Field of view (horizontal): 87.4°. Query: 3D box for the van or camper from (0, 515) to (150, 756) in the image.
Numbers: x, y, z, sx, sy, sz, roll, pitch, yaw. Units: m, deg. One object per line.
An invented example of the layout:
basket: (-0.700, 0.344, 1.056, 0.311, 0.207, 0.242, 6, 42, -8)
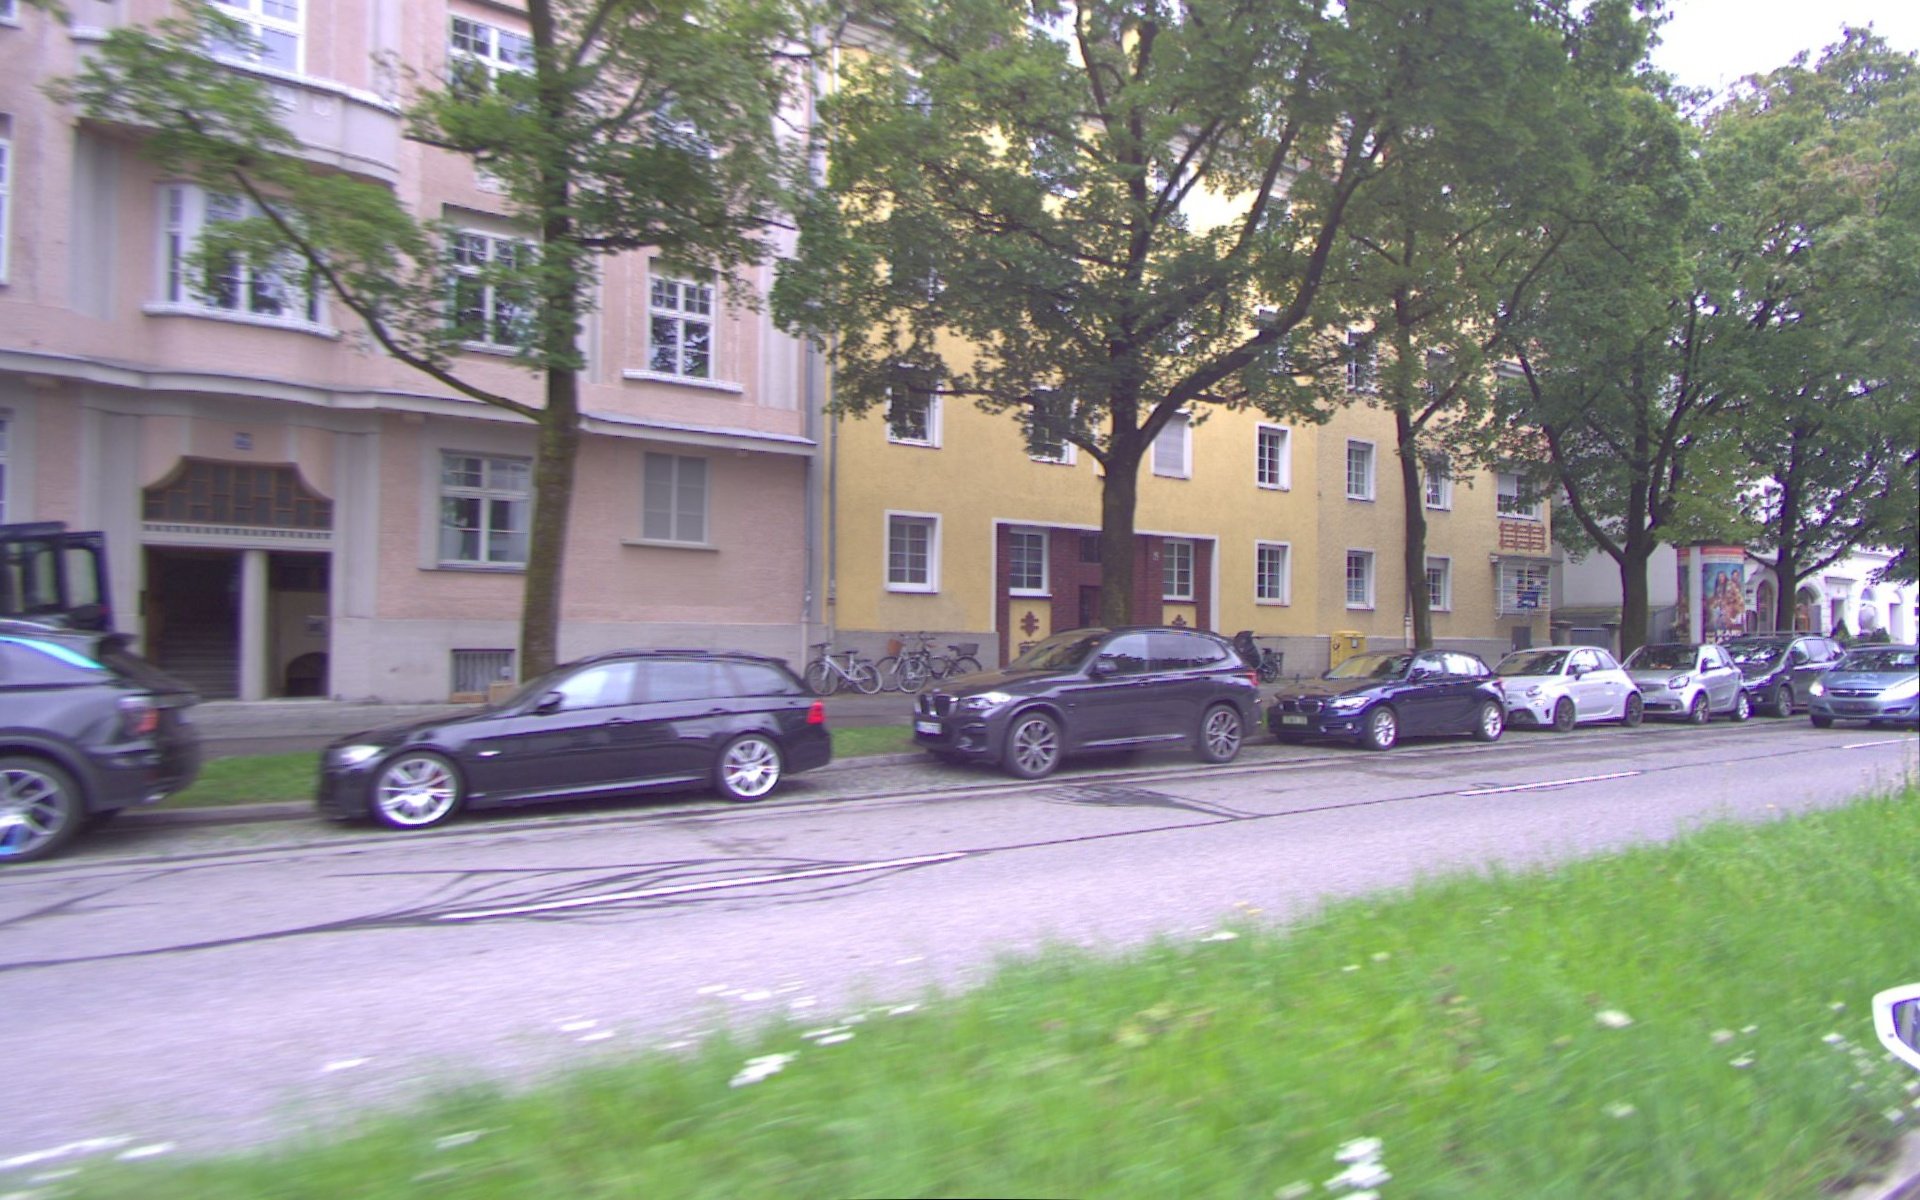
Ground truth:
van or camper: (-13.164, 0.352, 10.642, 6.771, 2.613, 2.334, 1, -1, -31)

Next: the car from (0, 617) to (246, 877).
car: (-7.727, 0.964, 6.901, 4.386, 1.709, 1.865, 2, -2, -30)

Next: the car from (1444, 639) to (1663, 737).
car: (10.794, 1.513, 18.225, 4.009, 1.582, 1.718, 2, -2, -30)

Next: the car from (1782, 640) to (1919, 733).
car: (17.088, 1.529, 18.413, 4.009, 1.526, 1.803, 2, -4, -30)

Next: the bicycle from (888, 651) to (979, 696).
bicycle: (-0.554, 1.536, 21.197, 1.908, 0.911, 0.539, 1, -2, -31)

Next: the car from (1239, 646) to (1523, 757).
car: (6.379, 1.423, 15.099, 4.312, 1.424, 1.718, 2, -2, -30)

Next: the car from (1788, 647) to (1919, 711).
car: (22.591, 1.908, 24.955, 4.352, 1.421, 1.719, 1, -2, -30)

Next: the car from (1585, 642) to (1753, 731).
car: (14.034, 1.645, 19.877, 2.977, 1.578, 1.717, 2, -2, -32)

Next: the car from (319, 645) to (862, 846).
car: (-3.292, 1.176, 9.400, 4.440, 1.473, 1.684, 2, -2, -30)

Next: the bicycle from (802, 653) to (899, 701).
bicycle: (-2.180, 1.524, 20.103, 1.908, 0.911, 0.481, 1, -2, -31)

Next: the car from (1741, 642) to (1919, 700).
car: (24.906, 1.960, 28.616, 1.712, 1.483, 3.870, 1, -2, -31)

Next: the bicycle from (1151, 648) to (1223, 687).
bicycle: (5.605, 1.643, 24.761, 1.908, 0.911, 0.539, 1, -2, -31)

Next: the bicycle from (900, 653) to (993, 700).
bicycle: (-0.260, 1.550, 20.675, 1.908, 0.911, 0.539, 1, -2, -31)

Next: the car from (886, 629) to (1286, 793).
car: (1.618, 1.214, 12.288, 4.714, 1.667, 1.870, 2, -2, -30)

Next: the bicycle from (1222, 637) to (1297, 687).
bicycle: (7.678, 1.566, 25.716, 1.908, 1.238, 0.766, 1, -2, -31)

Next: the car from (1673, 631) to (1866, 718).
car: (18.017, 1.585, 22.314, 4.711, 1.750, 1.802, 1, -2, -30)
